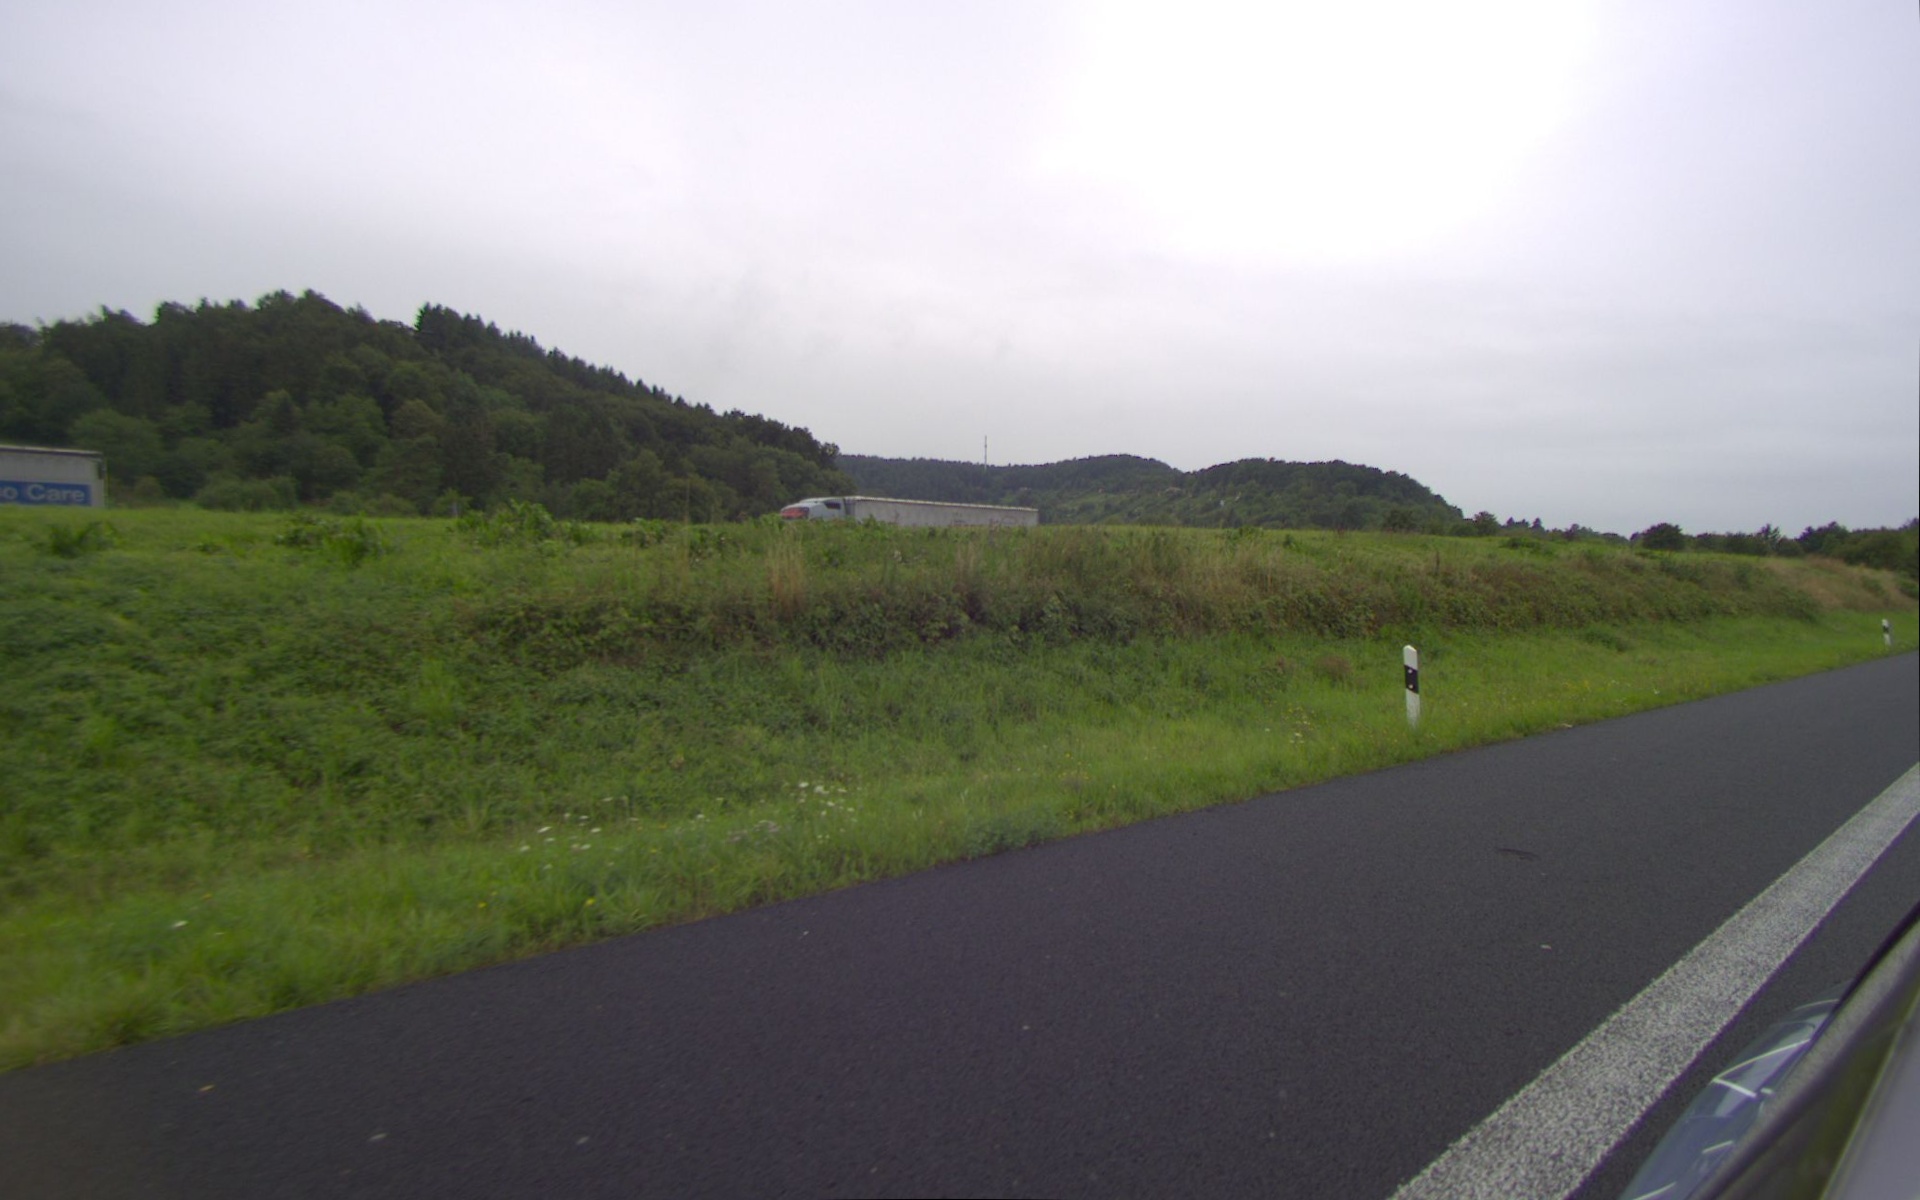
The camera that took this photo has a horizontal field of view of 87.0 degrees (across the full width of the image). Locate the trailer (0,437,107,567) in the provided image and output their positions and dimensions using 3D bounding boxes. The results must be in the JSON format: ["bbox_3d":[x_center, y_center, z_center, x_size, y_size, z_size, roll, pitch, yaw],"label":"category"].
[{"bbox_3d":[-29.441,-2.824,28.513,3.076,3.571,7.962,0,0,42],"label":"trailer"}]

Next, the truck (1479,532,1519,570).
[{"bbox_3d":[60.611,-5.471,113.760,2.508,4.037,5.833,0,0,44],"label":"truck"}]

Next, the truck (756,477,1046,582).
[{"bbox_3d":[-2.378,-3.253,52.083,3.823,4.597,16.612,1,1,45],"label":"truck"}]
